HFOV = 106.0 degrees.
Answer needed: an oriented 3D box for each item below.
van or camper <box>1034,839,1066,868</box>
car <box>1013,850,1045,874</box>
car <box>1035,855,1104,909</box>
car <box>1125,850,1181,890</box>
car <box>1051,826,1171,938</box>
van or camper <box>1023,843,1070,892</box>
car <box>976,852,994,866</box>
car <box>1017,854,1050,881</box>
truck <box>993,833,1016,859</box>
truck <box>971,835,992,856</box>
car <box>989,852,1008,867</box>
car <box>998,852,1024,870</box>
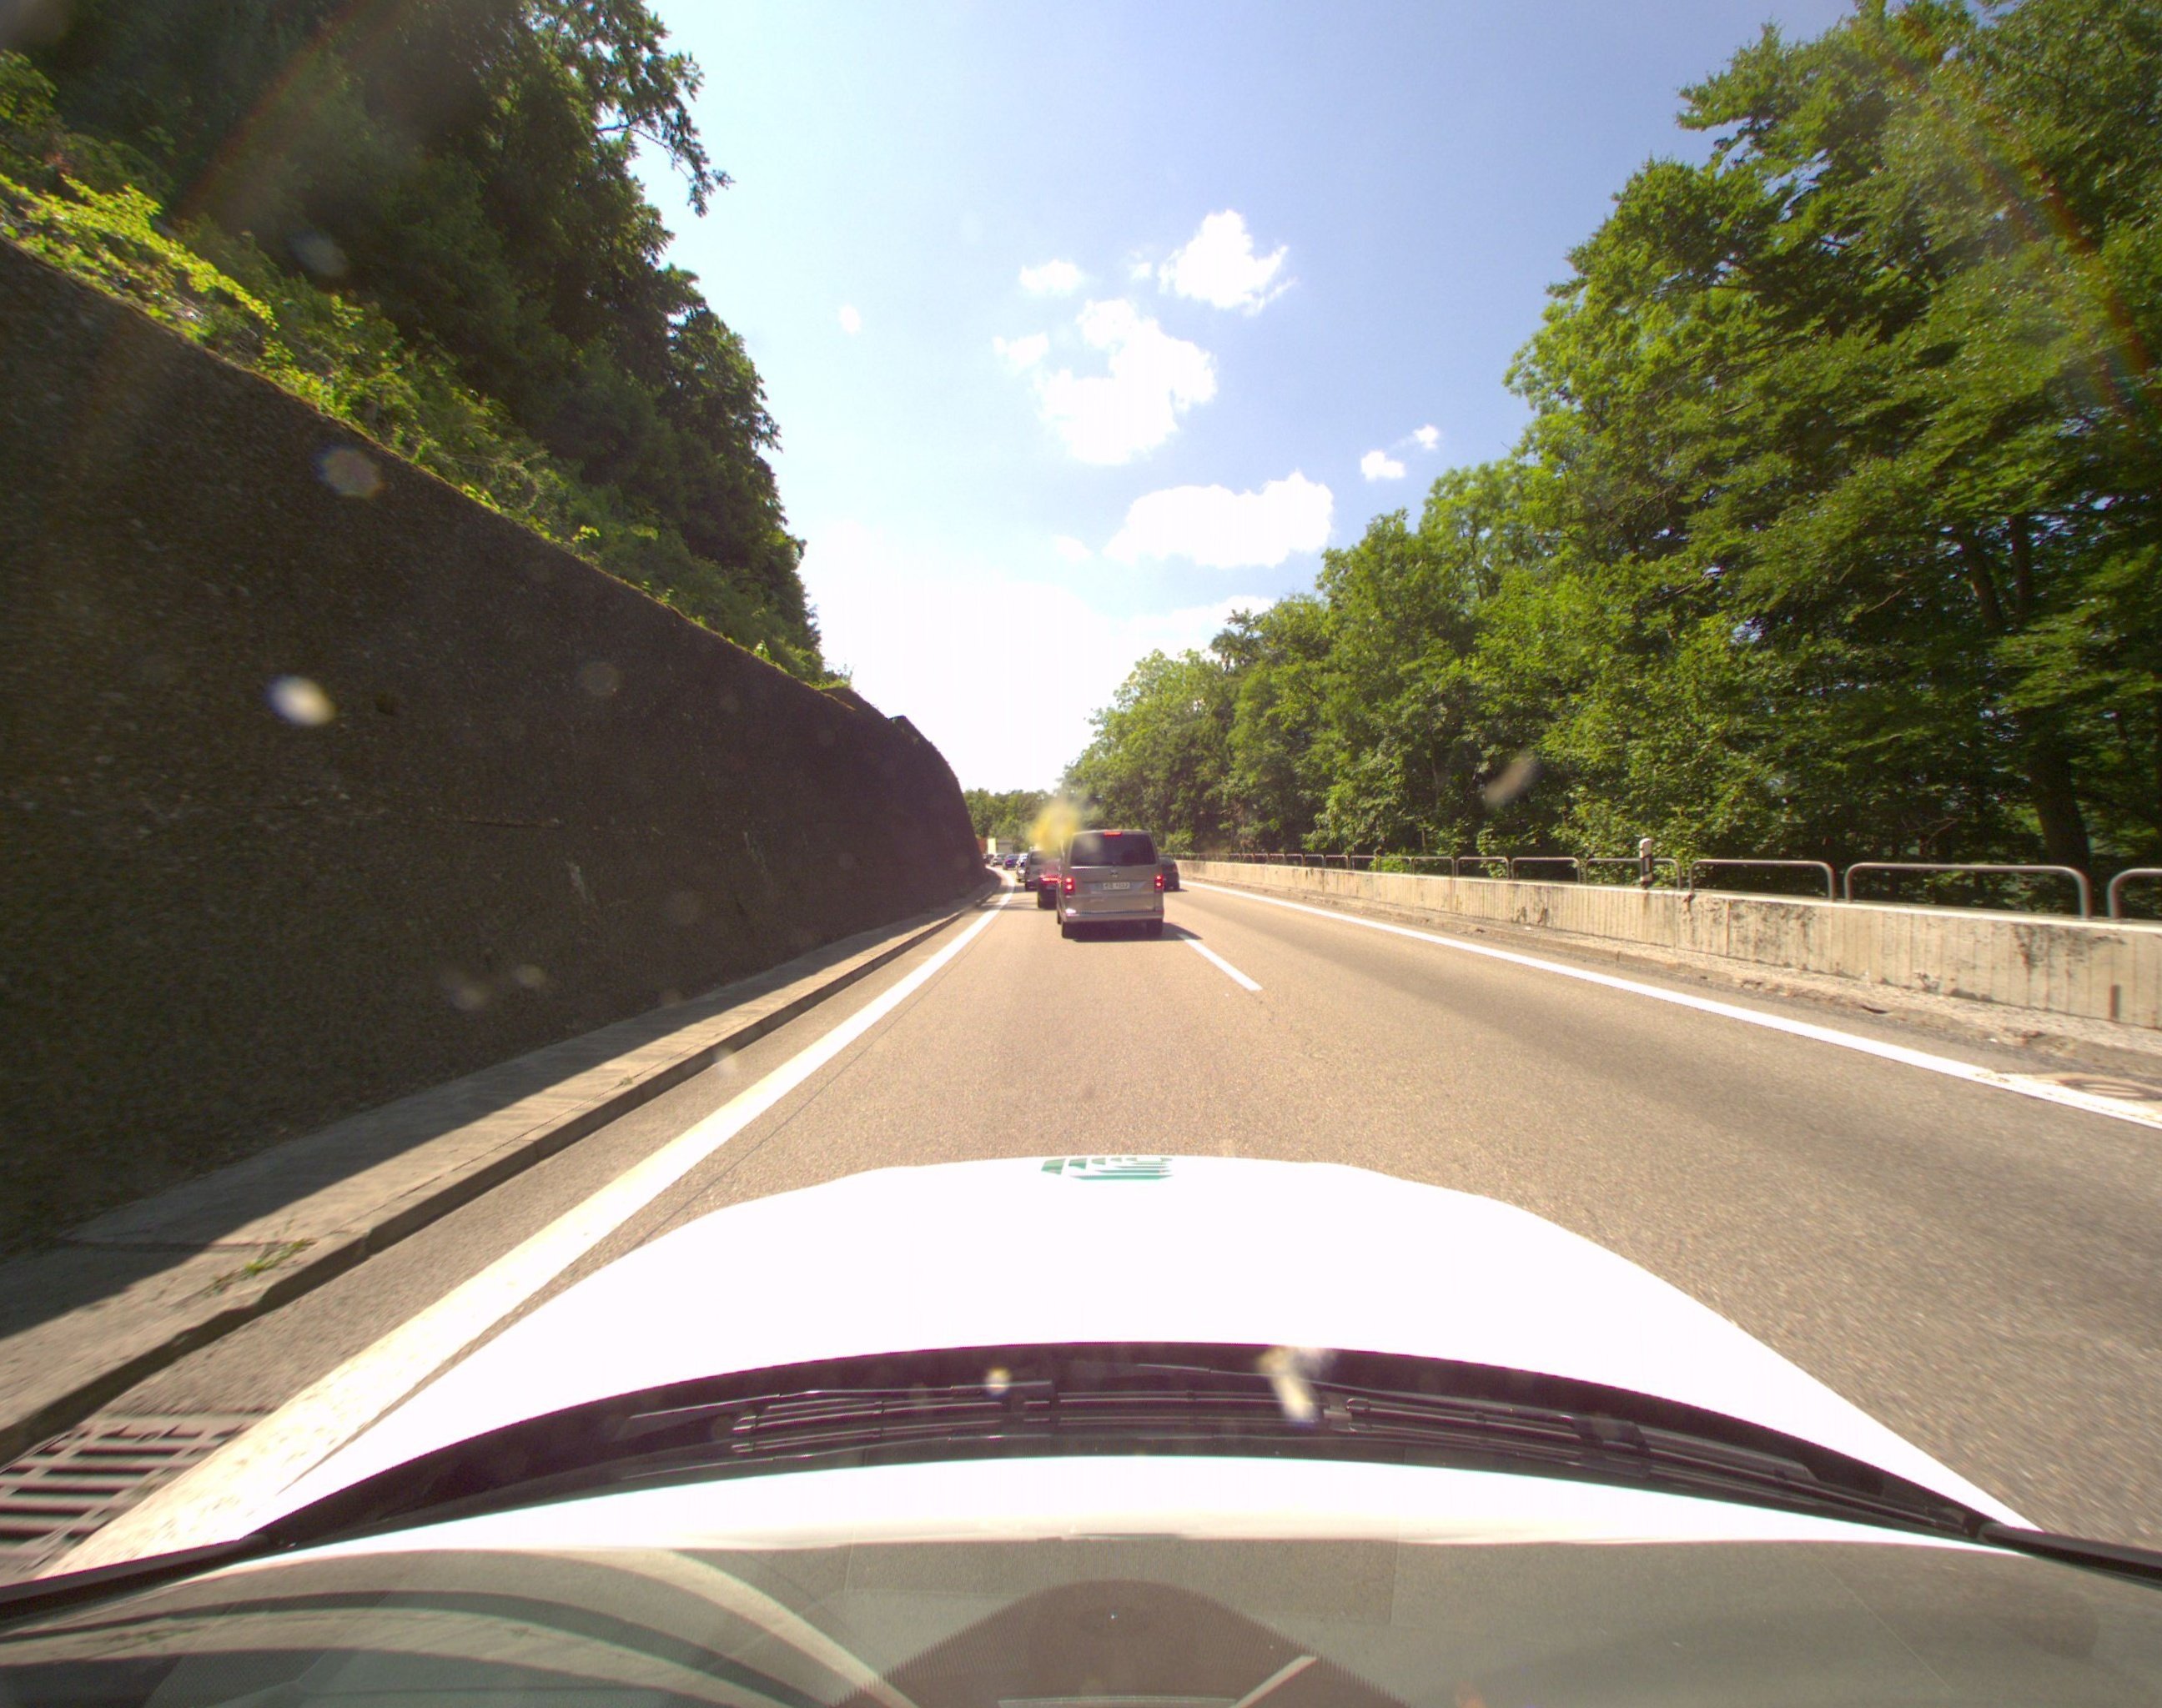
[{"bbox_3d":[-3.266,-0.081,83.578,2.602,2.855,6.319,-1,0,-8],"label":"van or camper"},{"bbox_3d":[-3.875,0.597,60.500,1.895,1.584,3.758,-3,0,-10],"label":"car"},{"bbox_3d":[-0.314,0.767,24.734,1.899,1.489,4.378,0,0,0],"label":"car"},{"bbox_3d":[2.747,0.572,31.822,1.680,1.458,3.997,0,0,-2],"label":"car"},{"bbox_3d":[0.438,0.479,16.530,1.937,1.931,4.687,-1,0,-4],"label":"car"},{"bbox_3d":[-1.580,0.560,36.235,1.850,1.942,4.158,3,0,-5],"label":"van or camper"},{"bbox_3d":[-11.999,0.613,101.709,1.754,1.571,3.751,-1,0,-16],"label":"car"},{"bbox_3d":[-2.686,0.736,46.659,1.767,1.472,3.996,1,0,-2],"label":"car"},{"bbox_3d":[-11.430,-1.160,120.912,2.923,3.687,7.703,3,0,-8],"label":"truck"},{"bbox_3d":[-17.575,-1.483,143.589,3.164,3.468,8.193,3,0,-10],"label":"truck"},{"bbox_3d":[-9.162,0.594,89.957,1.992,1.618,3.990,-1,0,-7],"label":"car"},{"bbox_3d":[-6.503,0.655,75.601,1.859,1.619,3.983,-1,0,-12],"label":"car"}]
